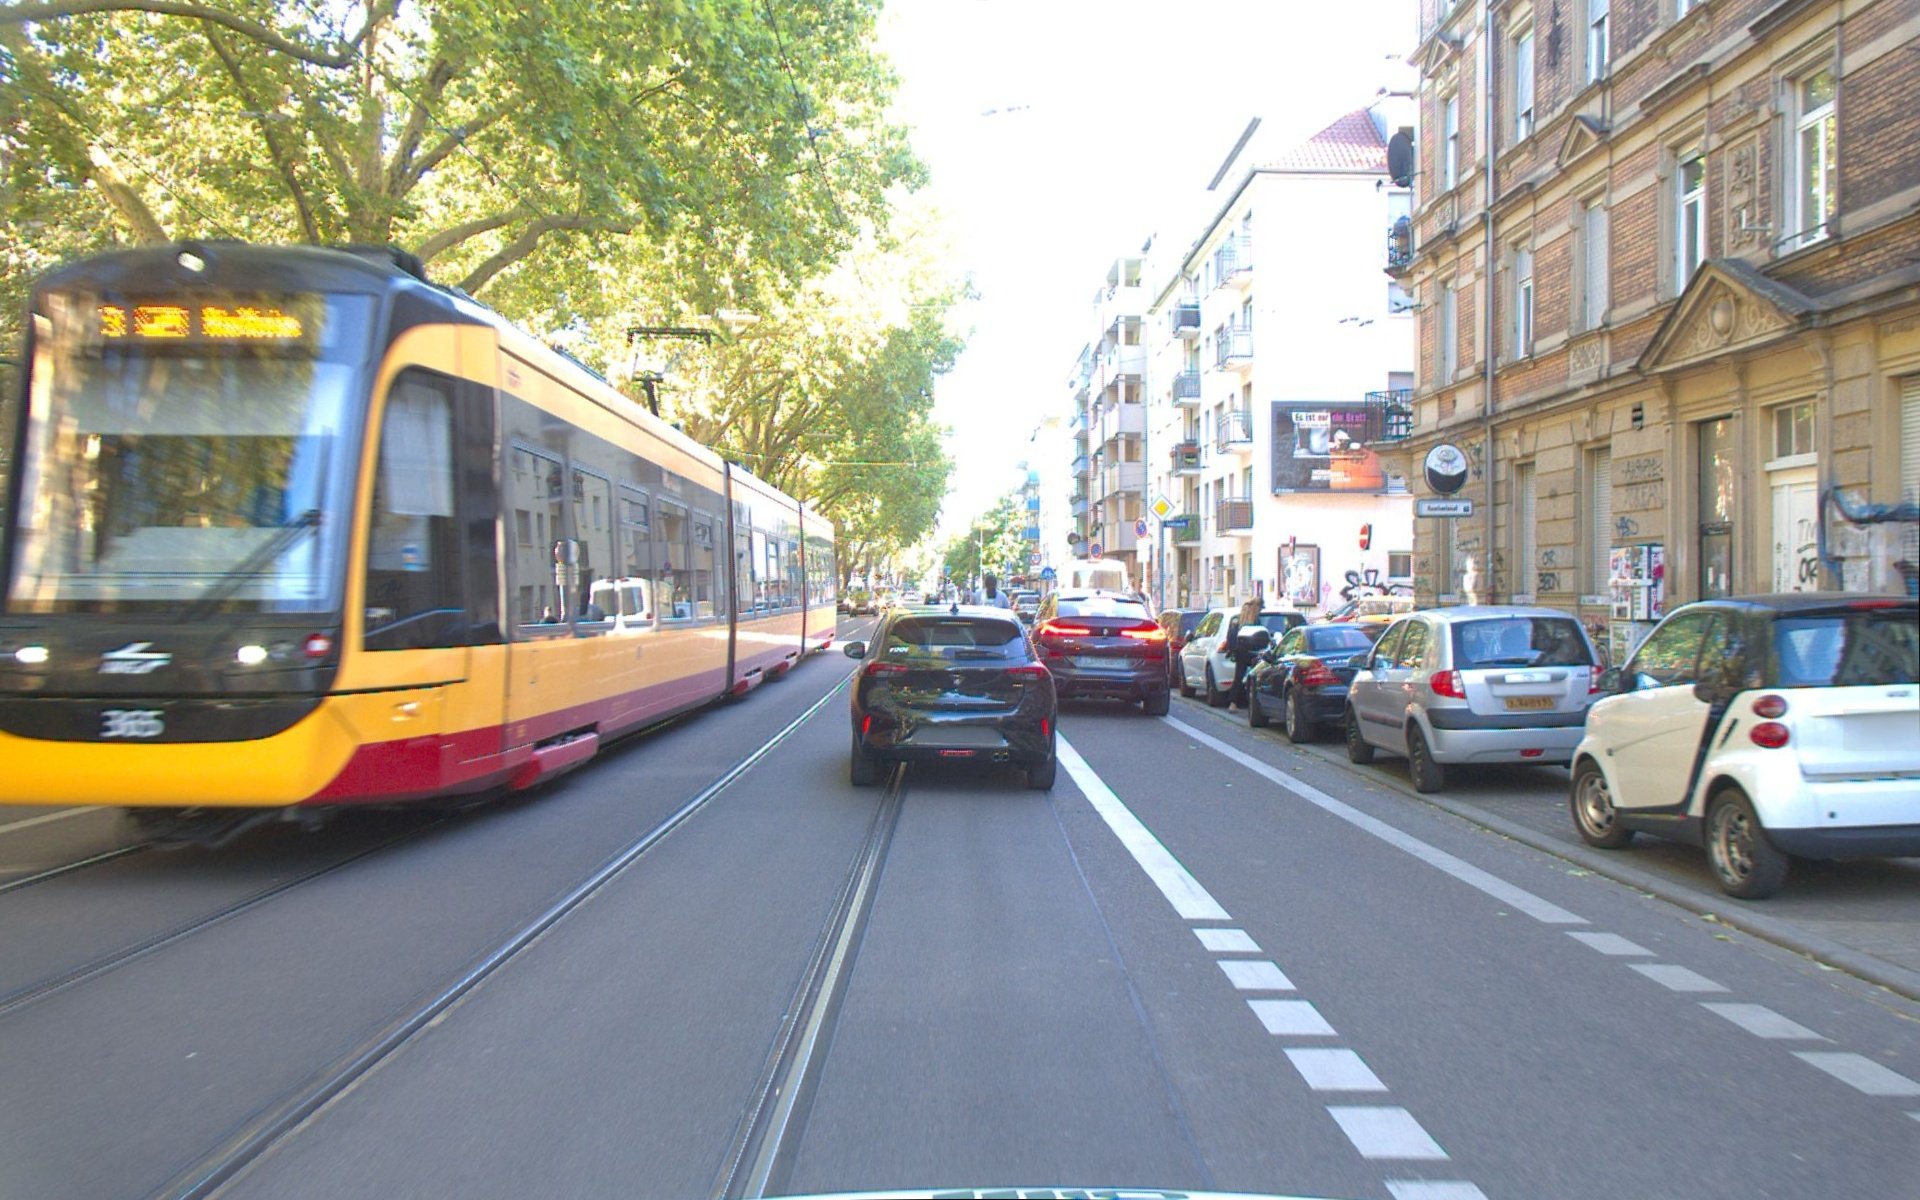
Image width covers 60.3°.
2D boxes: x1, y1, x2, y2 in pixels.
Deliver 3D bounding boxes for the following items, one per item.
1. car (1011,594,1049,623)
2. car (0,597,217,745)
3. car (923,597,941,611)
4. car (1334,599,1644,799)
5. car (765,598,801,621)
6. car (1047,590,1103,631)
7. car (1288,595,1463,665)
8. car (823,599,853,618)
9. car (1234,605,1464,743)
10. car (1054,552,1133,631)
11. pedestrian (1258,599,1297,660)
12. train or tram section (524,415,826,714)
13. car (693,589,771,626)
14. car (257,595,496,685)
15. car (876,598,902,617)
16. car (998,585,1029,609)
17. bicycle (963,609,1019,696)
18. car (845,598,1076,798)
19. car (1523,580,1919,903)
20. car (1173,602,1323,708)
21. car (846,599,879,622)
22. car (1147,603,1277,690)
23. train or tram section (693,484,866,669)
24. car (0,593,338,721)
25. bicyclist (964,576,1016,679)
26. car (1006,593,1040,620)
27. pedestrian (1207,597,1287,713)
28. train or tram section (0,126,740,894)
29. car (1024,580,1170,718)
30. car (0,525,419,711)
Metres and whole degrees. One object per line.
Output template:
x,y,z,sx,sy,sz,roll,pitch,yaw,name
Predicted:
3.559,0.416,84.790,1.773,1.361,3.933,-3,0,0,car
-10.730,0.740,18.693,3.839,1.524,1.677,2,0,0,car
-2.801,0.405,167.485,1.773,1.362,3.932,1,0,-1,car
4.580,0.779,14.866,1.669,1.481,3.698,-3,0,2,car
-10.922,0.585,102.127,1.772,1.361,3.933,1,0,0,car
4.242,0.376,61.544,1.773,1.361,3.933,-3,0,0,car
11.342,0.803,45.318,4.289,1.830,1.876,1,0,-2,car
-8.672,0.592,117.825,1.772,1.361,3.933,1,0,0,car
4.462,0.795,19.562,1.773,1.361,3.933,-3,0,0,car
4.168,-0.260,52.458,2.033,2.257,4.933,-3,0,0,car
8.446,0.777,43.961,0.849,1.594,0.768,1,0,-2,pedestrian
-4.092,-0.449,27.149,2.678,3.746,12.716,0,0,0,train or tram section
-11.855,0.393,86.156,3.842,1.821,1.676,2,0,-4,car
-10.866,0.733,31.011,3.842,1.524,1.676,2,0,-4,car
-5.637,0.586,131.288,1.773,1.361,3.933,-3,0,0,car
3.307,-0.181,102.614,1.773,1.361,3.933,-3,0,0,car
0.528,0.887,29.110,0.843,1.431,2.523,1,0,-2,bicycle
-0.023,0.754,14.481,1.757,1.466,3.531,1,1,-1,car
4.723,0.699,9.815,1.536,1.543,3.038,-3,0,-3,car
4.435,0.802,25.950,1.627,1.444,3.933,-3,0,0,car
-5.969,0.654,101.329,1.772,1.362,3.933,0,0,0,car
4.587,0.801,30.628,1.773,1.403,3.933,-3,0,0,car
-4.016,-0.479,39.847,2.678,3.746,12.716,0,0,0,train or tram section
-10.549,0.739,22.035,3.842,1.524,1.676,2,0,-4,car
0.516,0.473,29.076,0.831,1.770,1.161,1,0,-2,bicyclist
3.545,0.348,93.371,1.773,1.361,3.933,-3,0,0,car
4.043,0.756,23.335,0.756,1.594,0.862,1,0,-26,pedestrian
-4.156,-0.443,14.439,2.678,3.746,12.716,0,0,0,train or tram section
1.866,0.642,23.577,1.772,1.772,3.933,1,0,0,car
-11.720,0.232,24.519,6.494,2.451,2.457,2,0,-2,car
